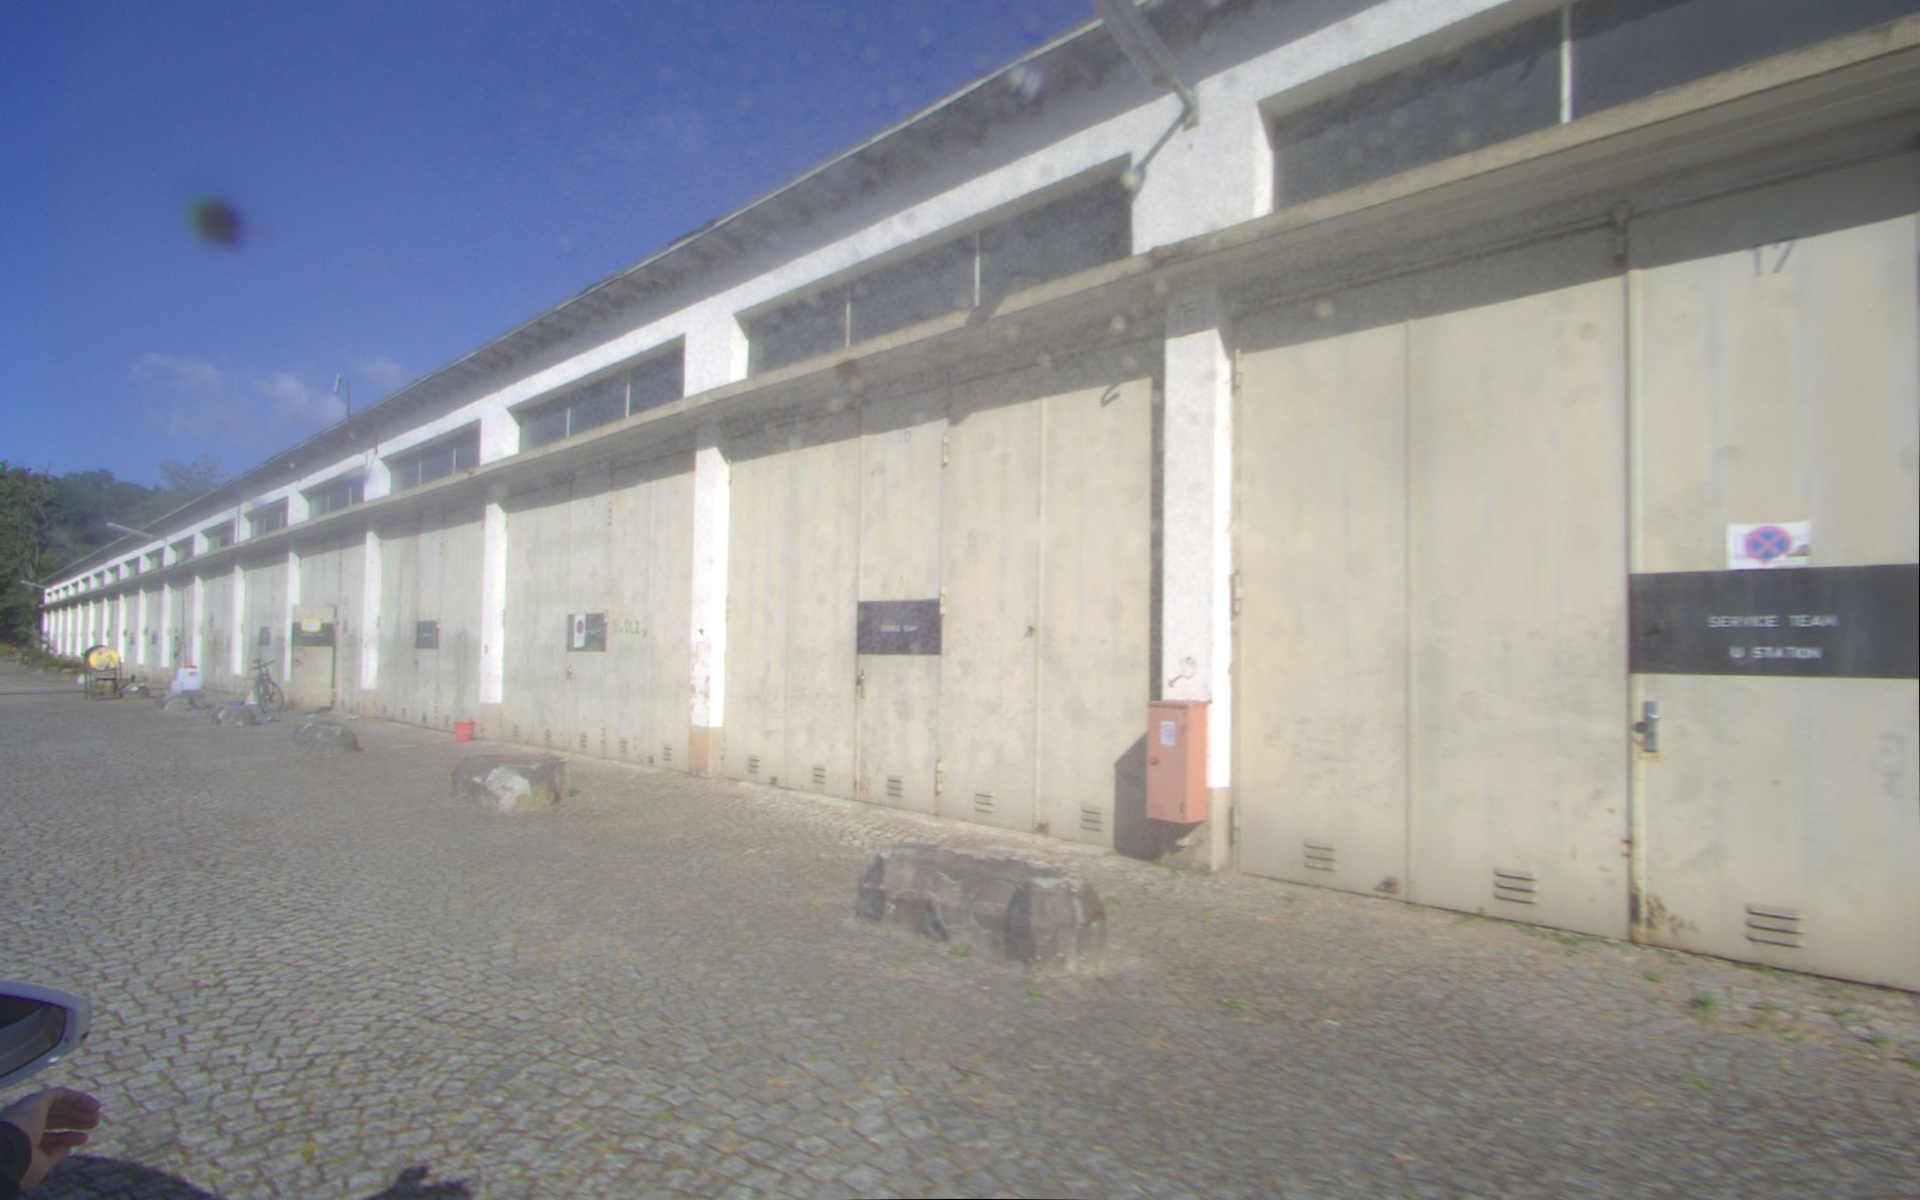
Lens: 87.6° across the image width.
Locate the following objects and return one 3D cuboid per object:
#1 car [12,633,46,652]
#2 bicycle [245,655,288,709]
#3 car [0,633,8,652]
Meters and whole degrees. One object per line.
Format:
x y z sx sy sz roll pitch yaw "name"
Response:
-80.046 3.643 86.143 1.731 1.454 4.149 5 -4 -39 "car"
-14.593 1.716 21.096 0.658 1.081 1.813 4 -4 -34 "bicycle"
-80.733 3.523 83.402 1.732 1.454 4.146 5 -4 -40 "car"
